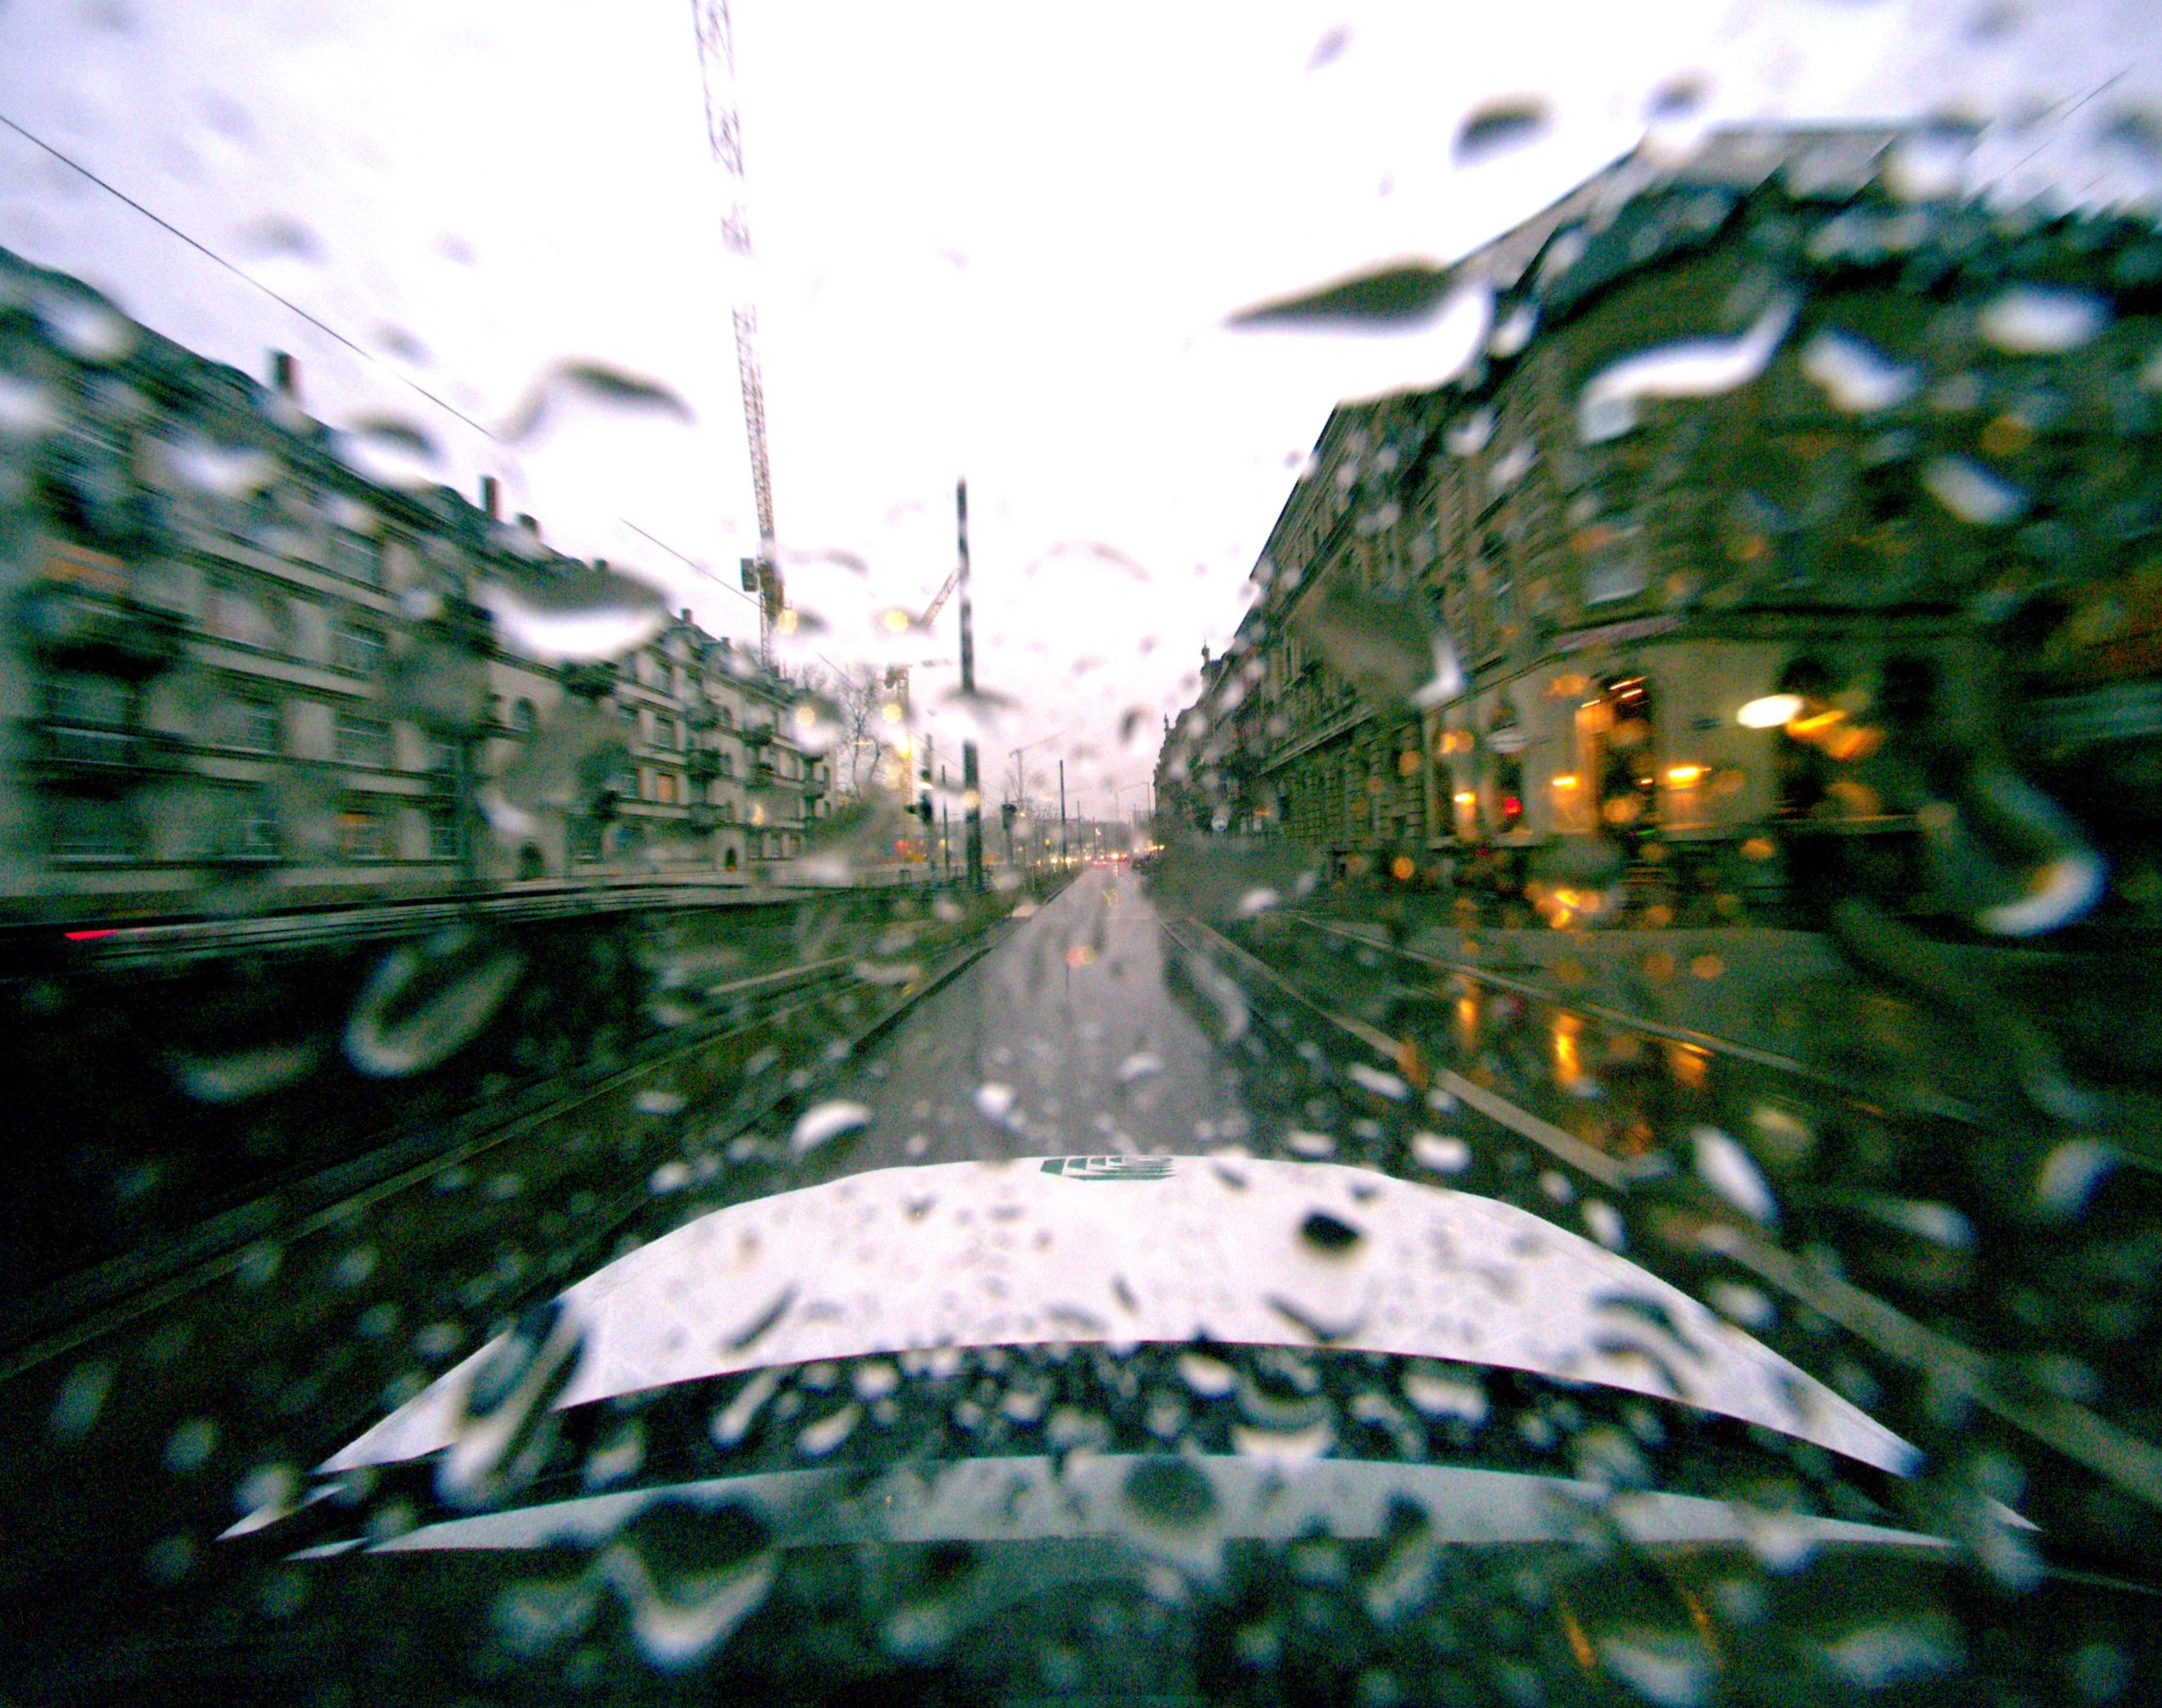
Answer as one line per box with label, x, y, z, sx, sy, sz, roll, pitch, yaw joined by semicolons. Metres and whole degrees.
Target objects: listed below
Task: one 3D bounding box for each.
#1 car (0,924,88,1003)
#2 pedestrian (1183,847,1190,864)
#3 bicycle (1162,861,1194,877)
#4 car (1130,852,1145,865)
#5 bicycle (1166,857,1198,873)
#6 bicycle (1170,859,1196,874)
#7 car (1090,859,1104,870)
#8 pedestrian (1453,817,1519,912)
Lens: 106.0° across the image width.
car;-17.461;1.782;11.987;1.450;1.123;3.425;-3;0;-1
pedestrian;11.471;0.143;88.238;0.600;1.785;0.528;-3;0;1
bicycle;6.996;1.106;58.856;2.242;1.057;0.525;-3;0;-1
car;7.208;0.568;103.873;1.791;1.604;3.774;-3;0;4
bicycle;7.083;0.771;57.339;2.143;1.057;0.525;-3;0;-5
bicycle;7.652;0.920;61.175;1.846;1.058;0.471;-3;0;-2
car;2.302;1.424;115.544;1.776;1.467;3.151;-2;0;3
pedestrian;8.830;0.219;17.777;0.858;2.013;0.910;-2;0;-28
